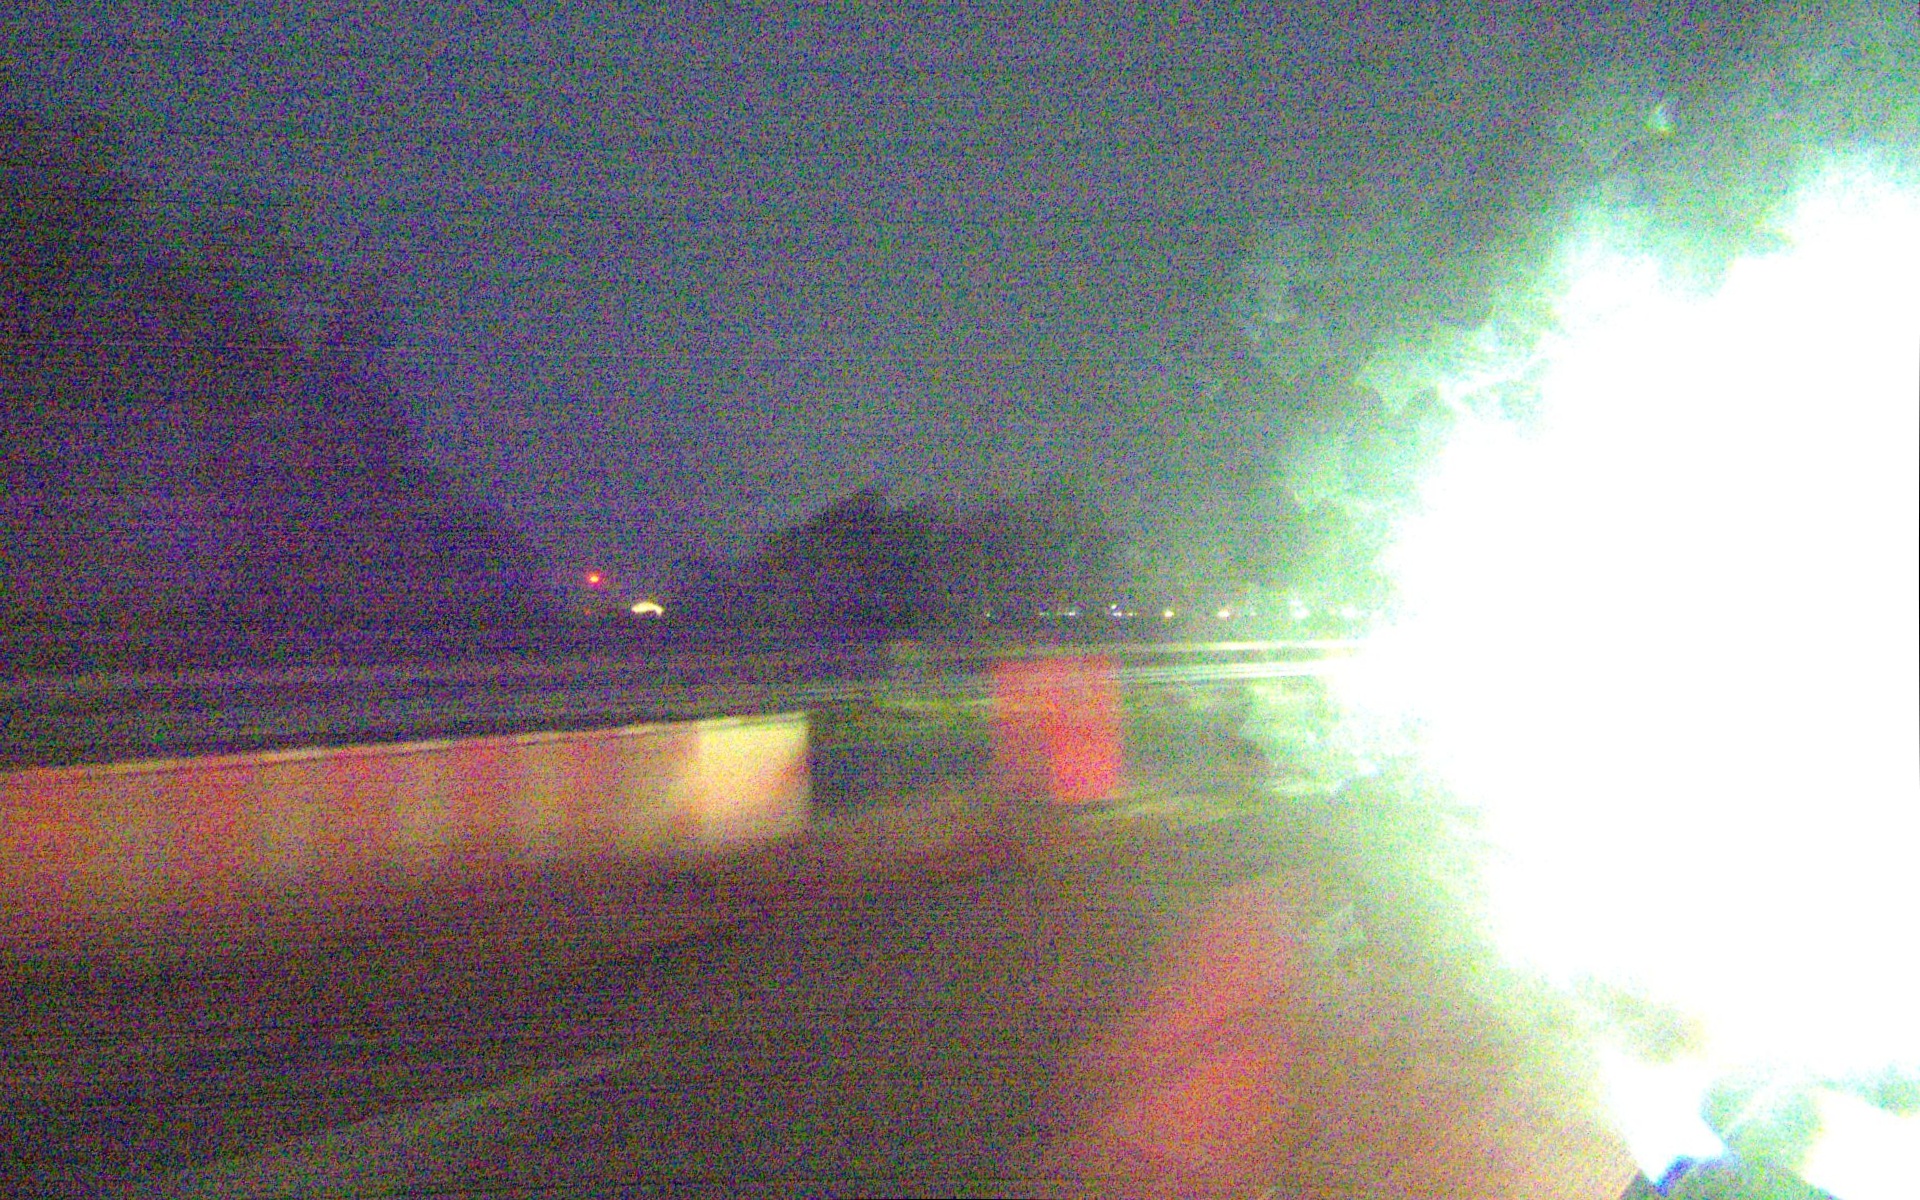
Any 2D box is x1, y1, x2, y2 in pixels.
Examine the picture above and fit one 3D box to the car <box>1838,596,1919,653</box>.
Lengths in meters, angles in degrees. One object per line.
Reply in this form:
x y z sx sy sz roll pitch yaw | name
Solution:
29.587 0.764 32.222 4.046 1.706 1.740 0 -2 -39 | car
